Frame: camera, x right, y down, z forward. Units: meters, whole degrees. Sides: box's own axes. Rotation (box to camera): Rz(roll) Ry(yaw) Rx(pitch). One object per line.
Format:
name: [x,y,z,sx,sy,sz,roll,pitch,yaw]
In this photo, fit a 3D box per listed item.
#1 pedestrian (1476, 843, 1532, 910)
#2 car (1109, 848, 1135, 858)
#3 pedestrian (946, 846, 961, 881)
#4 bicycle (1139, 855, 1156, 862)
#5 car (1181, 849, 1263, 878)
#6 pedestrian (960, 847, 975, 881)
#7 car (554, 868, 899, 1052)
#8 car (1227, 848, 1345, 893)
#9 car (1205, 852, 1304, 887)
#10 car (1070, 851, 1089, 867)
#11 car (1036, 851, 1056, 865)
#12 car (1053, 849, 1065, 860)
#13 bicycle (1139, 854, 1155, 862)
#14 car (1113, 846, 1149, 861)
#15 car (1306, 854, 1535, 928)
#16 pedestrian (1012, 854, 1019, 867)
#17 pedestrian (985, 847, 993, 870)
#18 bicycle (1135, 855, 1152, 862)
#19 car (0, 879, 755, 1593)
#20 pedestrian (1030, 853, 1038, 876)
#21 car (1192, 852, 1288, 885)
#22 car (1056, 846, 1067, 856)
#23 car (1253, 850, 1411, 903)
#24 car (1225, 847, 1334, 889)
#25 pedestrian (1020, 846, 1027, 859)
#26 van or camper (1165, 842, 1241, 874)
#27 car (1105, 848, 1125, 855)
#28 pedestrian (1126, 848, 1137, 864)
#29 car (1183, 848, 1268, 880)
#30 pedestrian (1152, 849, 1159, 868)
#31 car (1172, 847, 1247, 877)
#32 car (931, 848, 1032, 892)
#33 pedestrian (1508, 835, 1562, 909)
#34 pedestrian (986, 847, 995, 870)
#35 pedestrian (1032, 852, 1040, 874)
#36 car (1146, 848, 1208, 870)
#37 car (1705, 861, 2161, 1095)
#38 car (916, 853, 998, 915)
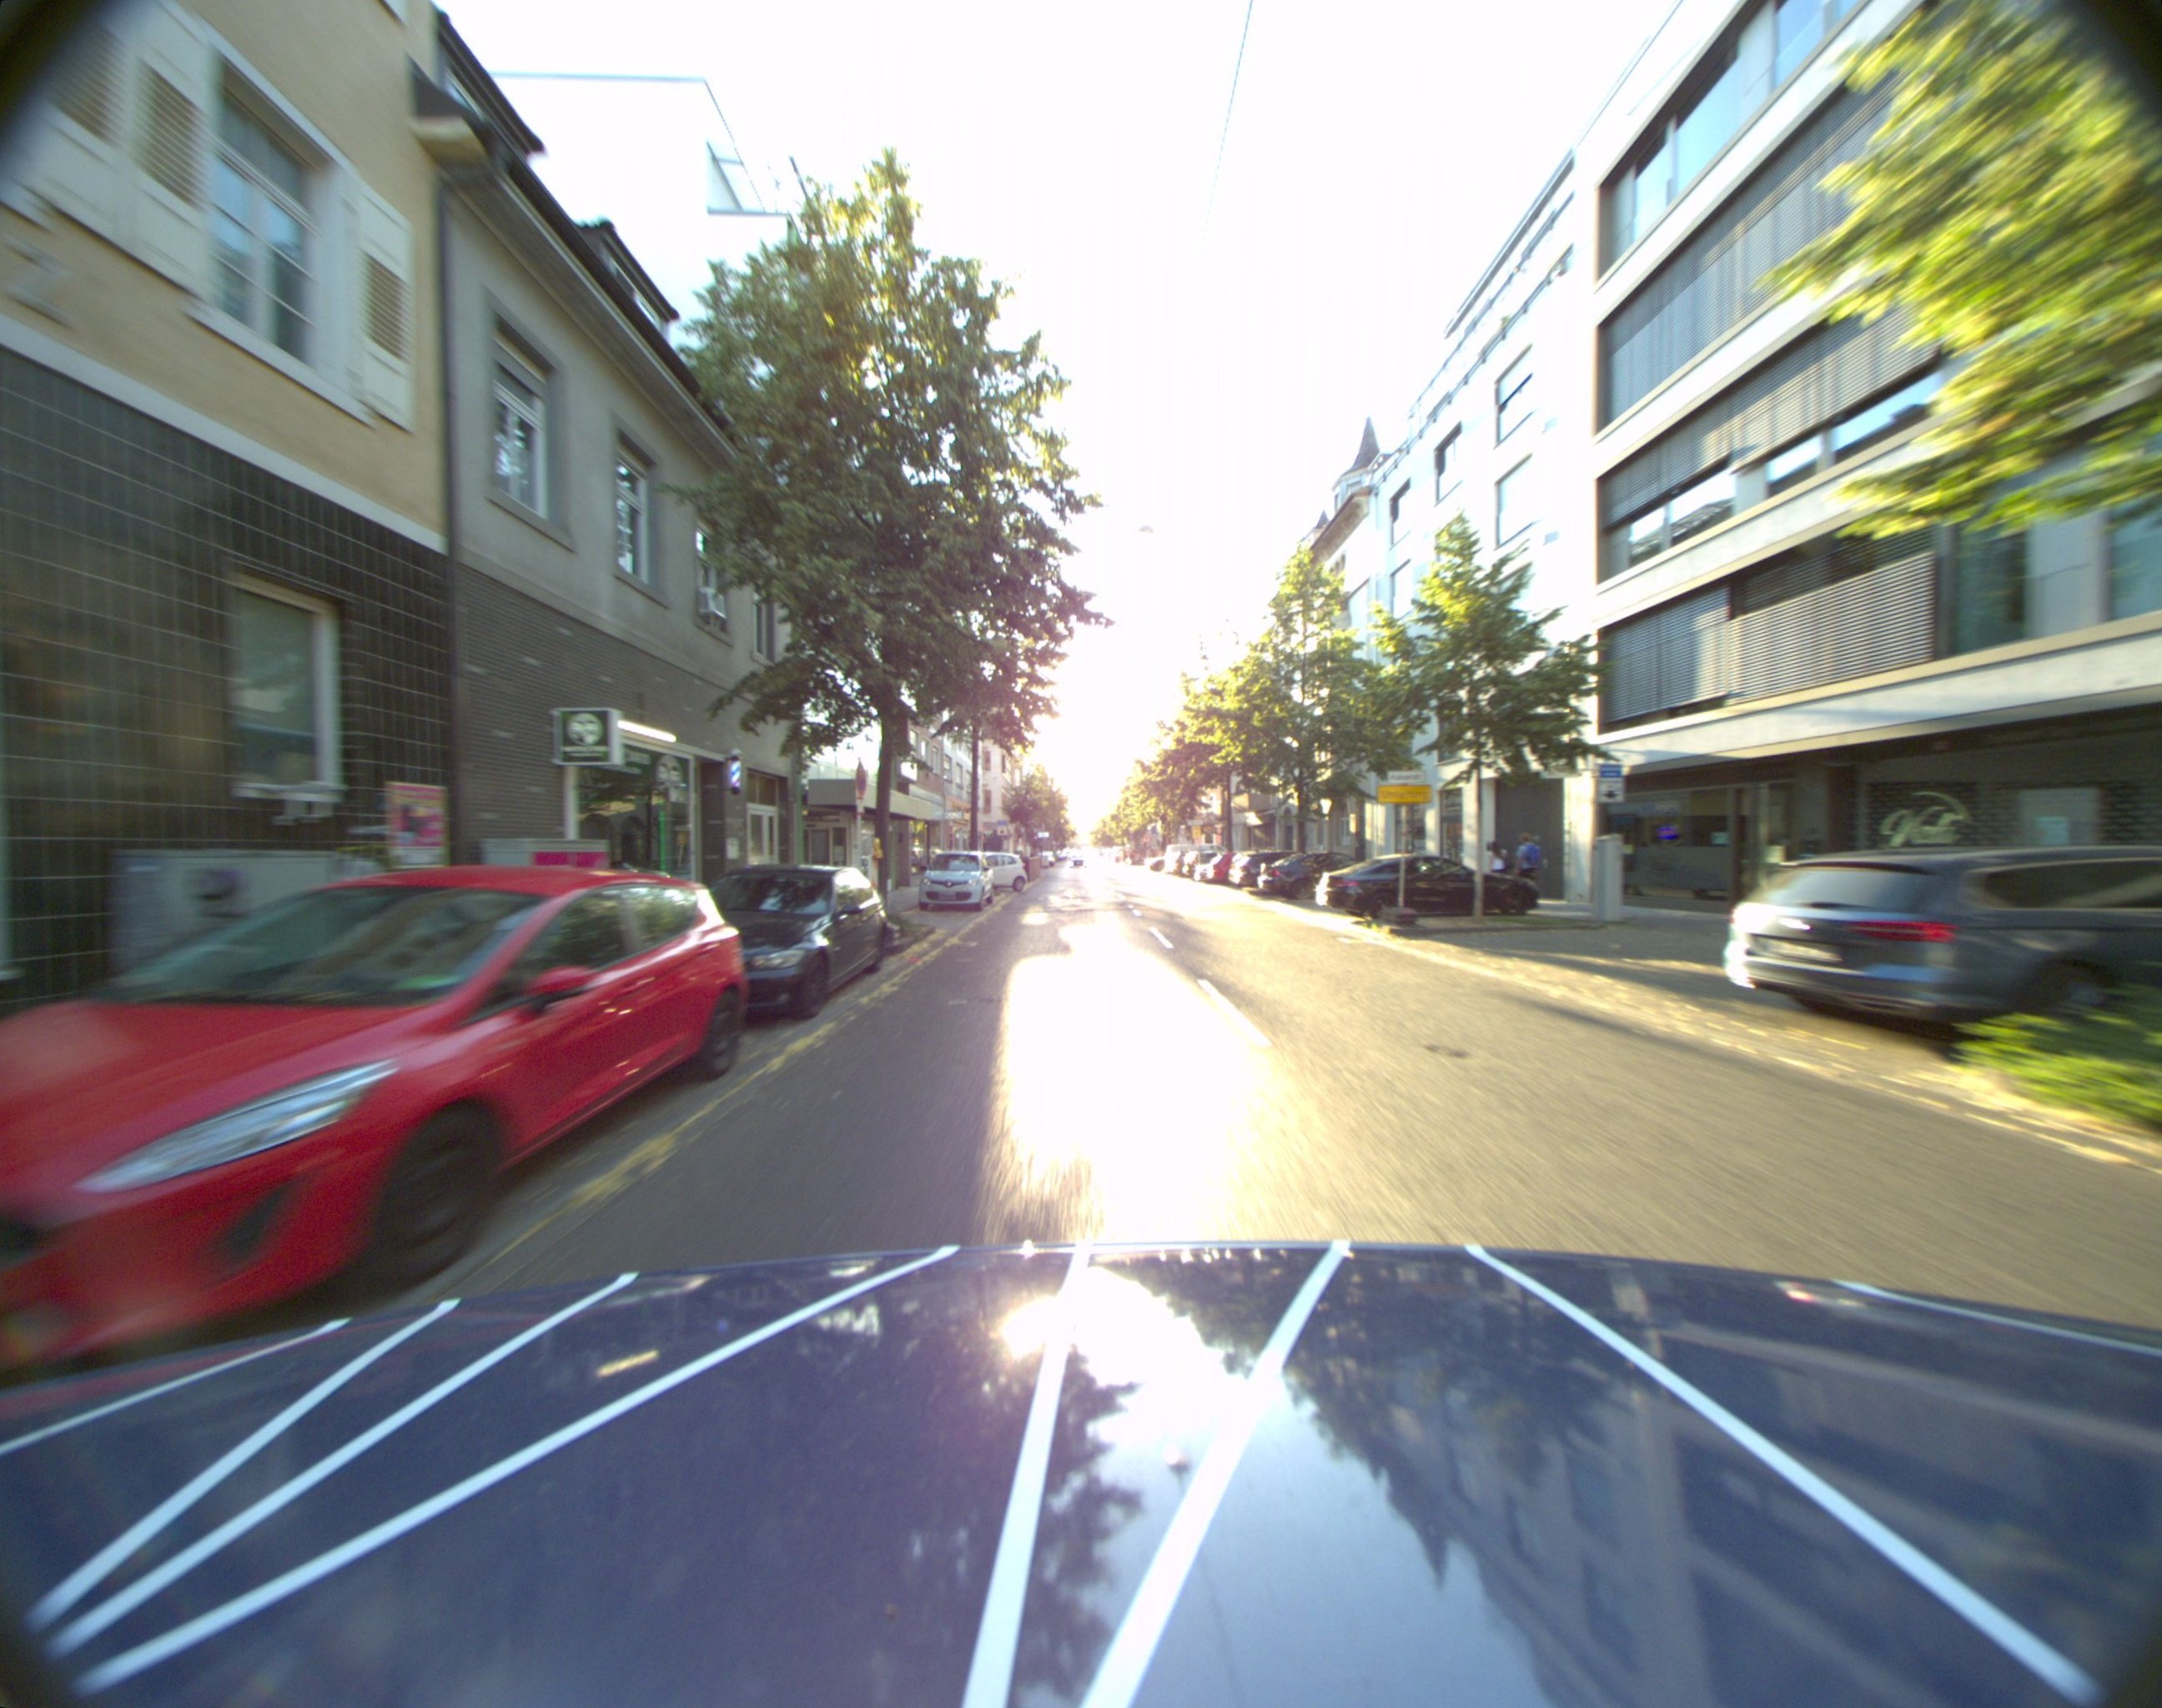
pedestrian: [10.473,0.538,18.831,0.721,1.593,1.094,-3,1,0]
car: [6.884,-0.166,128.002,4.152,1.772,1.826,-1,1,-1]
pedestrian: [-6.240,0.453,37.197,0.607,1.729,0.668,-1,1,-1]
bicycle: [7.252,0.450,83.318,1.796,0.761,0.408,-1,1,12]
car: [7.857,0.537,42.542,4.194,1.434,1.732,-2,1,0]
pedestrian: [-5.546,0.480,37.231,0.607,1.622,0.668,-1,1,-1]
car: [-3.468,0.932,8.528,1.957,1.382,4.423,2,0,-3]
car: [7.565,0.594,28.247,3.877,1.558,1.744,-1,1,-3]
car: [7.522,0.651,33.204,3.877,1.448,1.744,-1,1,-3]
car: [-0.109,0.462,76.819,1.825,1.469,4.154,-1,1,0]
car: [-3.704,0.429,81.003,1.825,1.344,4.154,-1,1,0]
car: [-3.707,0.052,126.892,1.825,1.658,4.154,-1,1,0]
bicycle: [7.359,0.395,84.685,1.801,0.858,0.444,-1,1,-25]
car: [6.479,-0.088,99.072,4.439,1.833,1.814,-1,1,-1]
car: [7.409,0.770,16.870,4.285,1.475,1.744,-1,1,0]
pedestrian: [-6.243,0.618,72.573,0.551,1.128,0.648,1,1,1]
pedestrian: [-6.512,0.308,53.823,0.493,1.615,0.573,1,1,1]
bicycle: [6.759,0.488,82.198,1.796,0.761,0.408,-1,1,12]
car: [-3.215,0.959,3.678,1.734,1.479,3.899,2,0,-3]
pedestrian: [-3.064,0.655,49.493,0.448,1.472,0.547,1,1,1]
car: [7.377,0.642,35.496,4.052,1.379,1.743,-2,0,-4]
car: [-3.357,-0.555,133.670,1.825,1.658,4.154,-1,1,0]
car: [7.691,0.667,23.483,4.286,1.475,1.744,-1,1,-3]
car: [7.952,0.550,30.624,3.877,1.558,1.744,-1,1,-3]
pedestrian: [-6.692,-0.178,88.455,0.719,1.565,0.756,1,1,1]
van or camper: [7.637,0.258,47.742,4.469,1.945,1.789,-1,1,1]
car: [7.123,-0.557,158.250,4.152,1.469,1.826,-1,1,0]
pedestrian: [5.357,0.209,80.452,0.898,1.671,0.795,-1,1,-37]
car: [7.524,0.517,39.888,4.192,1.528,1.744,-2,1,5]
pedestrian: [6.366,0.365,65.222,0.550,1.638,0.721,-1,1,2]
car: [7.543,0.450,44.867,4.193,1.659,1.732,-1,1,2]
car: [-3.777,0.620,29.299,1.661,1.574,3.632,1,-1,41]
pedestrian: [11.181,0.435,18.740,0.721,1.739,0.933,-3,1,0]
pedestrian: [-6.552,0.318,54.988,0.493,1.615,0.573,1,1,1]
pedestrian: [-3.004,0.584,50.645,0.448,1.472,0.563,1,1,1]
car: [7.291,0.377,58.147,4.439,1.516,1.814,-1,1,-1]
car: [7.902,0.837,5.983,4.559,1.475,1.744,-1,1,0]
car: [-3.332,0.751,21.053,1.696,1.534,3.552,1,0,-1]
